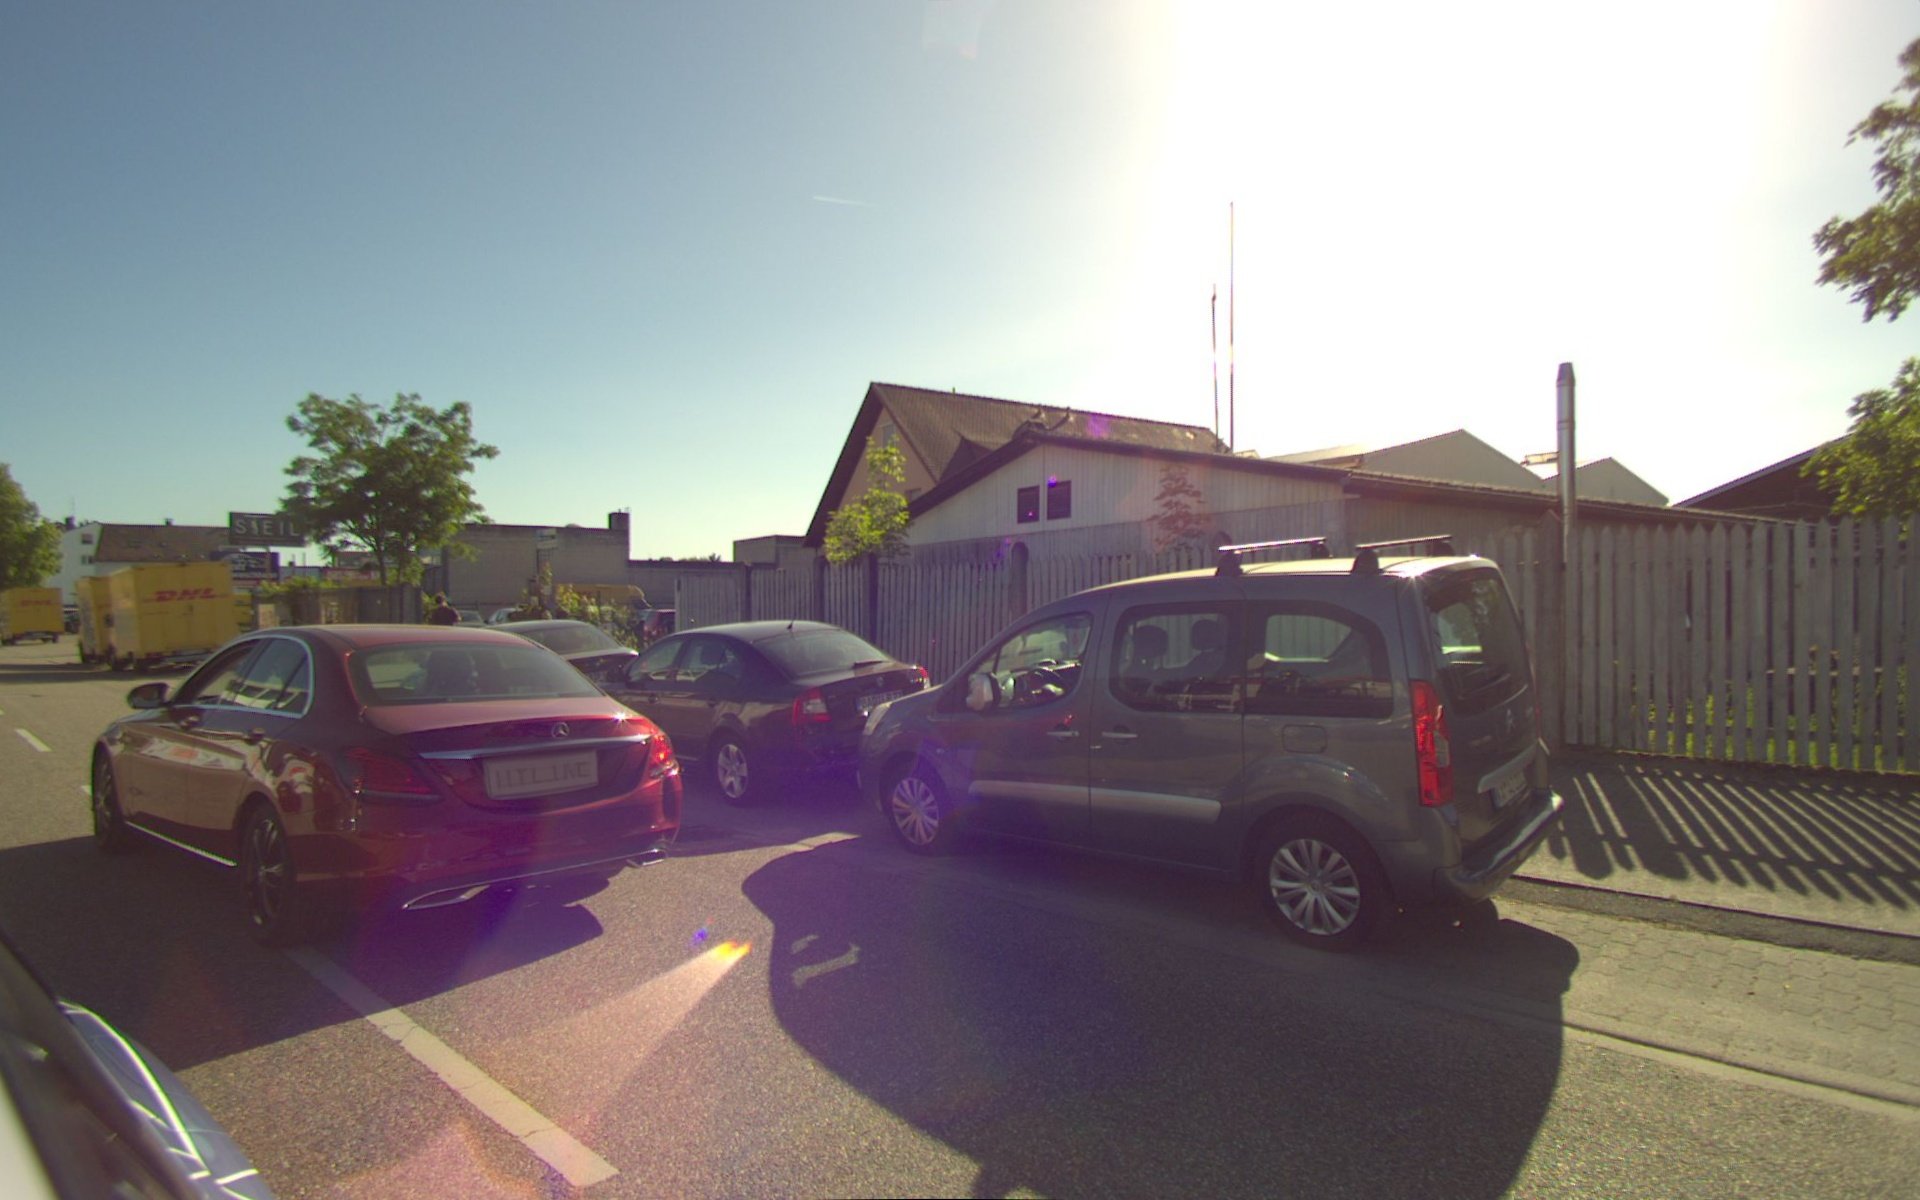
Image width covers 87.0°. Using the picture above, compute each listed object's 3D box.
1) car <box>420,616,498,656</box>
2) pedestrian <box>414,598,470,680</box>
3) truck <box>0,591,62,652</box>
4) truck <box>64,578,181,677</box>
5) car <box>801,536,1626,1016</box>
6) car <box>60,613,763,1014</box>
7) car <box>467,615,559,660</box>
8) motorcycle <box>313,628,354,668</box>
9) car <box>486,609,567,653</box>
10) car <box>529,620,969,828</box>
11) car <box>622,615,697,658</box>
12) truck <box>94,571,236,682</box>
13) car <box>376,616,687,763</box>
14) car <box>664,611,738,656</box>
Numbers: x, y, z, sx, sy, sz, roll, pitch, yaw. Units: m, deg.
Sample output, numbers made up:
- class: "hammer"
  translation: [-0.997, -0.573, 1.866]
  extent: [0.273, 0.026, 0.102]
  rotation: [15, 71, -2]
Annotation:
- class: "car"
  translation: [-19.620, 1.395, 39.553]
  extent: [1.824, 1.454, 4.007]
  rotation: [3, -2, -39]
- class: "pedestrian"
  translation: [-11.484, 0.844, 22.424]
  extent: [0.750, 1.756, 0.811]
  rotation: [-1, 1, 36]
- class: "truck"
  translation: [-49.623, 1.089, 53.761]
  extent: [5.910, 3.052, 2.256]
  rotation: [0, 1, 43]
- class: "truck"
  translation: [-26.933, 0.812, 32.465]
  extent: [5.749, 2.895, 2.116]
  rotation: [-1, 1, 43]
- class: "car"
  translation: [1.138, 0.689, 6.183]
  extent: [1.755, 1.863, 4.618]
  rotation: [-3, 1, -45]
- class: "car"
  translation: [-3.348, 0.838, 5.777]
  extent: [4.523, 1.431, 1.852]
  rotation: [-1, -3, 38]
- class: "car"
  translation: [-15.797, 1.285, 35.661]
  extent: [1.947, 1.454, 4.007]
  rotation: [3, -2, -39]
- class: "motorcycle"
  translation: [-17.825, 1.355, 28.770]
  extent: [0.530, 1.065, 2.071]
  rotation: [-3, 1, -44]
- class: "car"
  translation: [-17.713, 1.238, 41.274]
  extent: [1.947, 1.652, 4.007]
  rotation: [3, -2, -39]
- class: "car"
  translation: [-2.223, 0.969, 9.722]
  extent: [4.615, 1.459, 1.756]
  rotation: [-1, 1, 43]
- class: "car"
  translation: [-11.486, 1.366, 38.542]
  extent: [1.623, 1.541, 4.010]
  rotation: [1, -1, -34]
- class: "truck"
  translation: [-21.923, 0.653, 27.808]
  extent: [5.750, 2.734, 2.144]
  rotation: [0, 1, 43]
- class: "car"
  translation: [-5.630, 0.992, 12.927]
  extent: [4.923, 1.459, 1.756]
  rotation: [-1, 1, 43]
- class: "car"
  translation: [-10.378, 1.291, 40.332]
  extent: [1.623, 1.698, 4.010]
  rotation: [1, -1, -34]
